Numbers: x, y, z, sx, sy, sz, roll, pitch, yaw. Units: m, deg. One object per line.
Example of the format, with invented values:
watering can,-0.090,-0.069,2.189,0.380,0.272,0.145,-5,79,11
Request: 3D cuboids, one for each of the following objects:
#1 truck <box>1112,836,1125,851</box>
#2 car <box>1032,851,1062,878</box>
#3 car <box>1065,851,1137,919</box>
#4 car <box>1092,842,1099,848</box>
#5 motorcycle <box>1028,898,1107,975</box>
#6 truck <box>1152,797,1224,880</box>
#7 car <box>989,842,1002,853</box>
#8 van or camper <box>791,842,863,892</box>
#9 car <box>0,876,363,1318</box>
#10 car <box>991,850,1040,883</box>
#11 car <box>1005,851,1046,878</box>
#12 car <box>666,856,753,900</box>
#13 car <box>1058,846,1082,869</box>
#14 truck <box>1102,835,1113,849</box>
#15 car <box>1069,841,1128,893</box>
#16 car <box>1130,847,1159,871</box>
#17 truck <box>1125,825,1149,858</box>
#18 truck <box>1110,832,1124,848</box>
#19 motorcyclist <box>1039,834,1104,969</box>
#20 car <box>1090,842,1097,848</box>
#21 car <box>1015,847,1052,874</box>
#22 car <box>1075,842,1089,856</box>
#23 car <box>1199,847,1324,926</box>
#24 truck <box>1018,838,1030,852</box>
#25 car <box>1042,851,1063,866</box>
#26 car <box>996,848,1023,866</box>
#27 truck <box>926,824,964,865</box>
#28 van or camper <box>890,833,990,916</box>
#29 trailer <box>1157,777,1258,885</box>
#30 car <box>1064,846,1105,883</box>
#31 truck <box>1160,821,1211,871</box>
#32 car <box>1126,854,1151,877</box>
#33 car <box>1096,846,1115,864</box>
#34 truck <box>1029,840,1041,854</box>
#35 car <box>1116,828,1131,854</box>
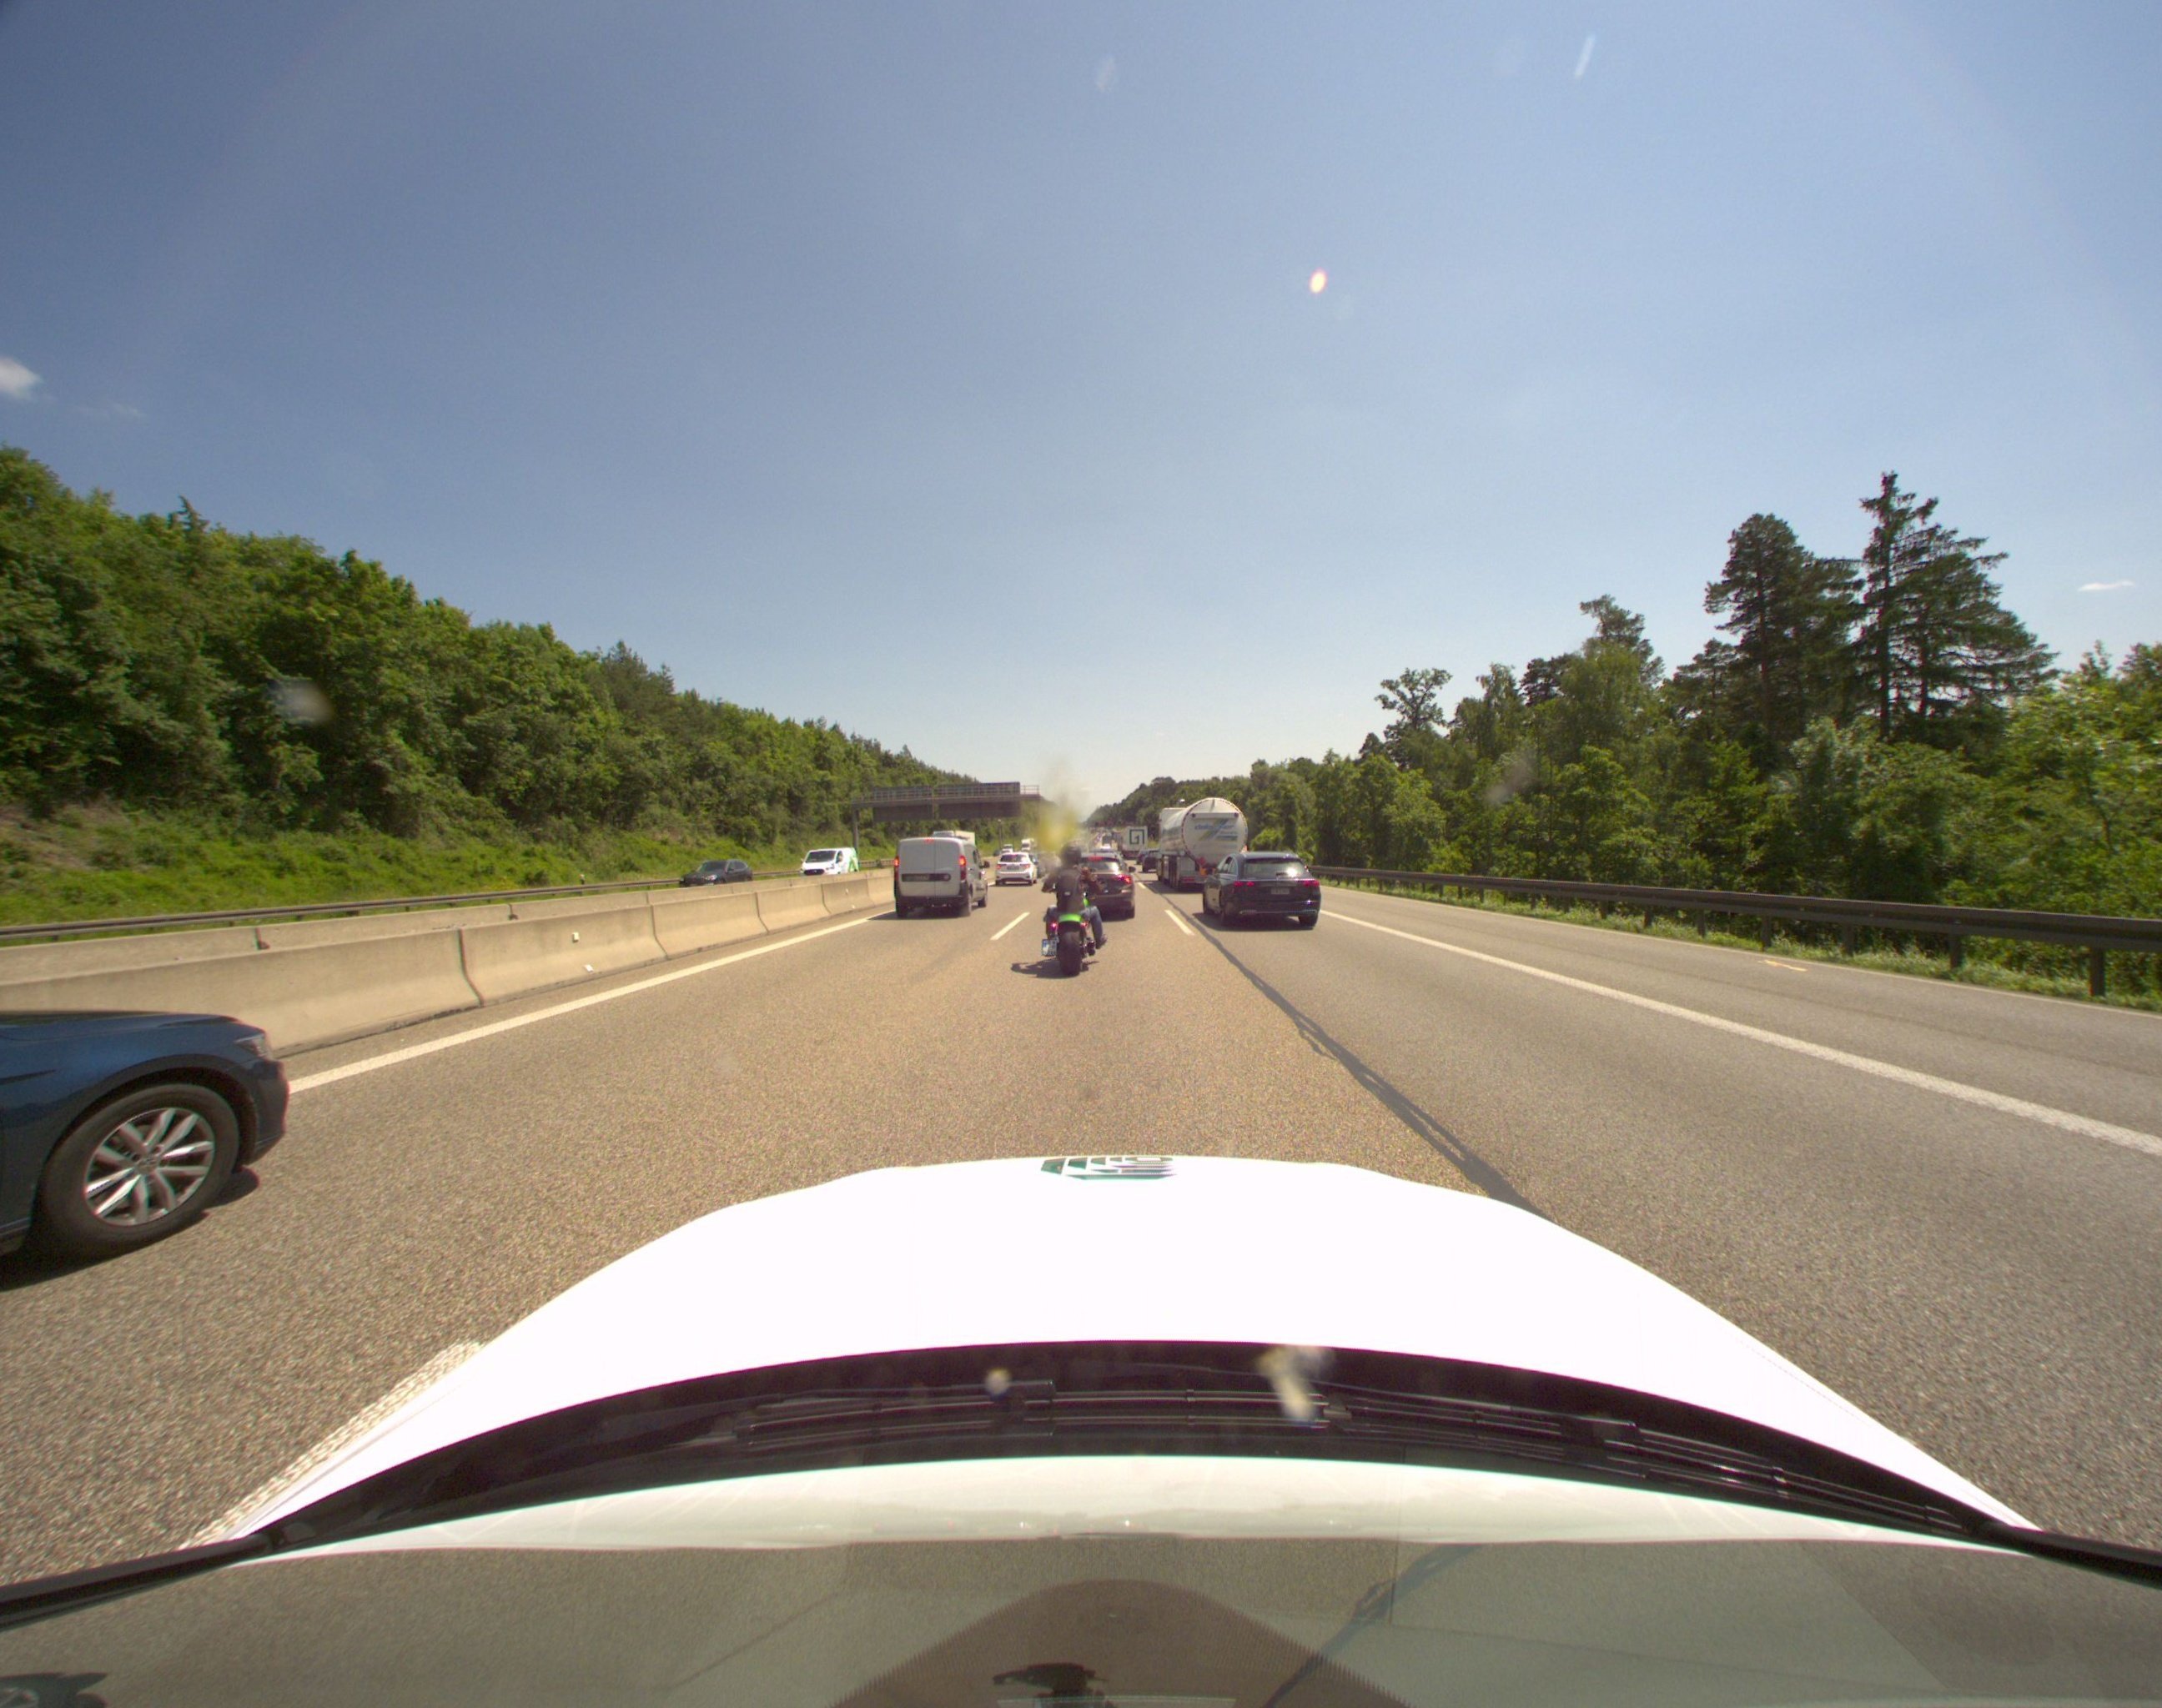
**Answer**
truck,5.195,-1.438,113.138,1.584,2.111,3.755,0,-1,4
car,-2.578,0.805,62.789,1.986,2.014,4.001,0,-1,1
car,0.494,0.651,19.387,1.535,1.450,4.002,0,0,2
car,4.661,-2.923,260.954,1.986,2.013,4.002,-2,0,2
motorcycle,-0.125,1.059,10.939,0.932,0.793,2.300,0,0,2
truck,5.042,-0.646,39.513,2.817,3.671,6.432,0,-1,2
car,-16.840,-1.237,160.543,1.986,2.014,4.001,0,-1,2
van or camper,-13.642,0.702,44.034,1.986,2.385,4.811,-6,-1,2
car,-4.595,0.834,1.735,1.867,1.450,4.680,0,0,2
car,-2.947,0.568,37.354,1.769,1.411,4.001,0,-1,2
car,-3.132,0.592,46.654,1.987,1.464,4.000,0,-1,0
car,-18.003,1.128,39.742,2.106,2.014,4.478,0,-1,1
car,-1.006,0.353,75.820,1.986,2.014,4.001,0,-1,2
truck,6.692,-3.085,208.622,2.686,3.405,10.483,-2,0,2
car,0.625,0.455,29.317,1.986,1.711,4.000,0,-1,1
car,4.250,0.344,54.918,1.769,1.527,4.001,0,-1,2
truck,7.030,-1.500,101.771,2.840,3.821,7.196,0,-1,5
truck,7.783,-2.981,176.442,2.686,3.405,10.483,-2,0,2
motorcyclist,-0.103,0.597,10.719,0.796,1.688,1.017,0,-1,2
car,3.518,-2.503,233.792,1.763,1.556,4.002,-2,0,2
car,-3.036,0.432,52.628,1.986,1.684,4.332,0,-1,2
car,0.209,-0.689,123.232,1.986,2.013,4.002,-2,0,2
car,3.662,0.627,17.369,1.785,1.458,4.626,0,-1,2
truck,-13.024,-2.034,186.921,2.170,2.884,6.744,0,-1,1
car,-2.722,0.456,79.525,1.757,1.442,4.002,0,-1,2
car,-5.997,0.232,68.999,1.818,1.494,4.001,-1,0,1
truck,-15.737,-1.033,94.572,2.938,4.481,7.519,0,-1,1
van or camper,-3.482,0.439,20.900,1.848,1.880,4.559,0,1,-1
trailer,4.832,-0.730,33.280,2.817,3.671,10.736,0,-1,2
car,0.211,0.552,41.474,1.986,1.775,4.000,0,-1,1
truck,6.707,-0.516,53.411,2.380,2.979,8.254,-1,0,1
car,5.199,1.035,73.948,1.987,2.014,4.000,0,-1,0
car,2.809,0.127,93.491,1.986,2.013,4.002,-1,0,2
truck,-13.258,-1.910,233.689,2.682,3.989,7.993,0,-1,2
car,6.909,-2.079,132.806,2.159,3.892,9.333,0,-1,2
